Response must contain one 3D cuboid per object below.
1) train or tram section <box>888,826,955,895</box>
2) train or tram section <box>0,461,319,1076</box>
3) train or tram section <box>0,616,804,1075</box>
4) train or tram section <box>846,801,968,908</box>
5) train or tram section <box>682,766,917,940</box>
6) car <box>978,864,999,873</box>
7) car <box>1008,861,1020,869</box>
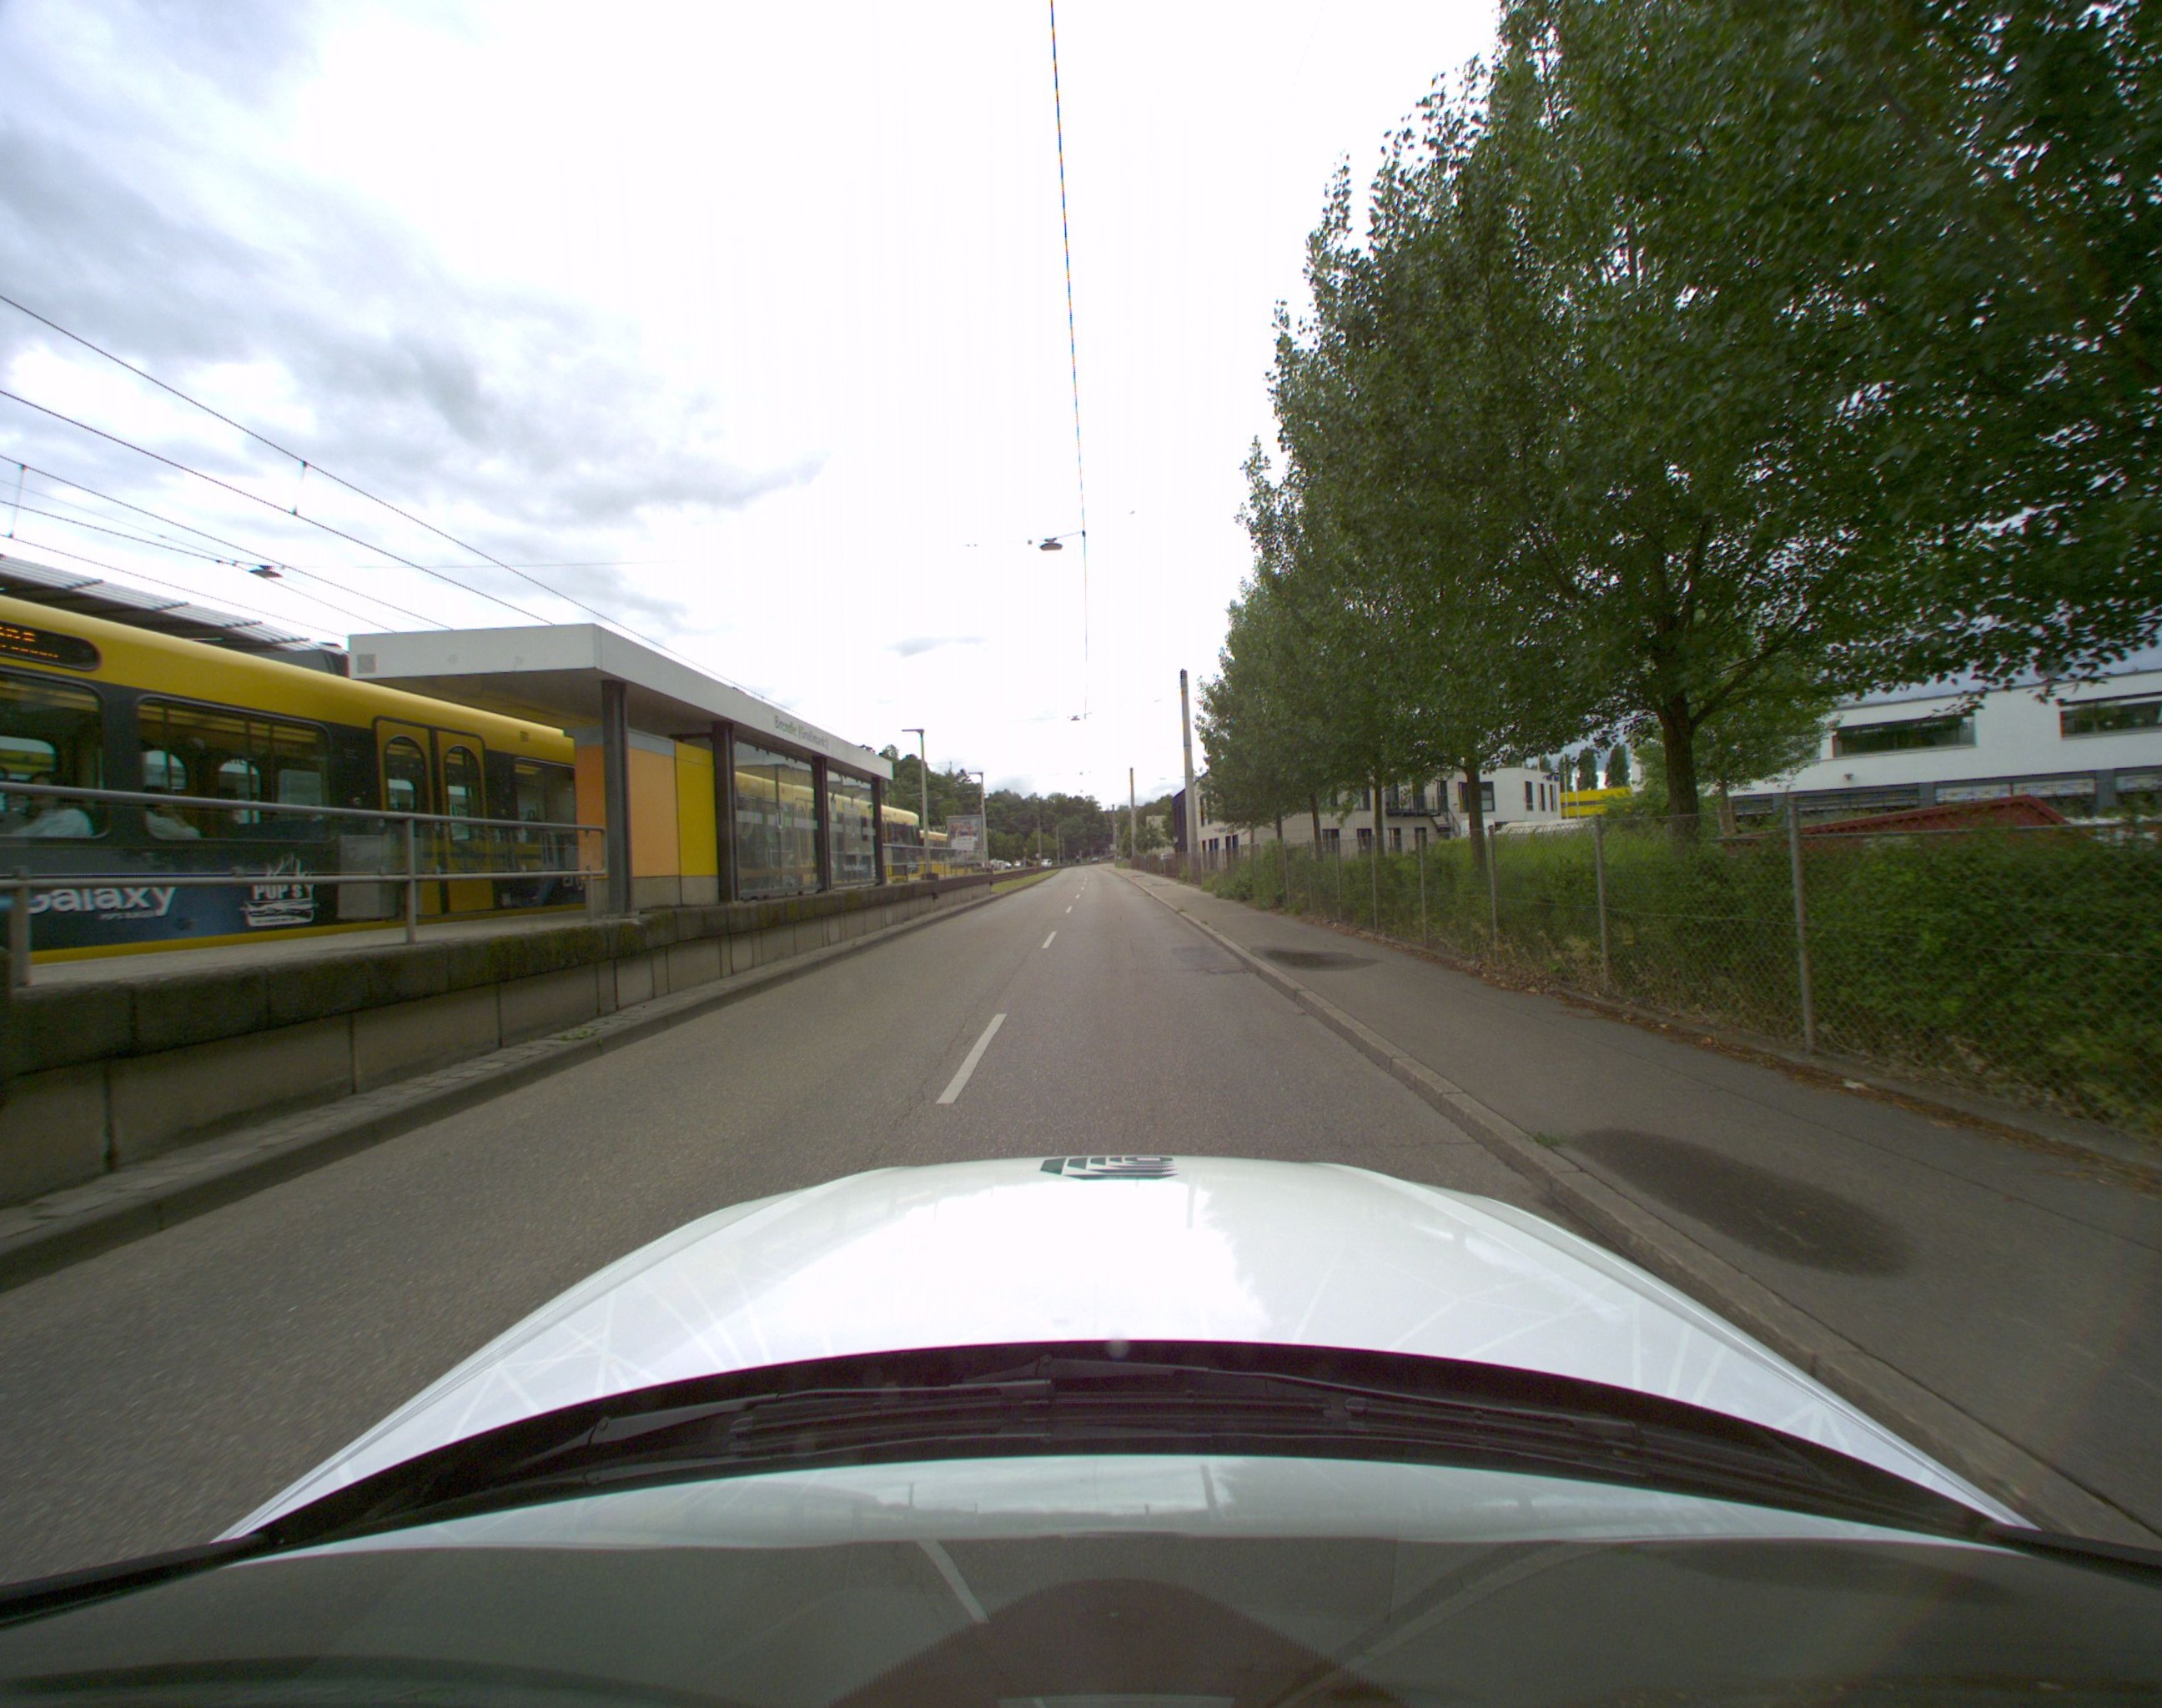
[{"bbox_3d":[-9.764,0.430,50.806,1.986,3.796,9.181,-3,-1,2],"label":"train or tram section"},{"bbox_3d":[-8.371,-0.485,1.313,2.731,3.966,11.914,-3,0,1],"label":"train or tram section"},{"bbox_3d":[-8.116,-0.103,13.248,2.731,3.966,11.914,-3,0,1],"label":"train or tram section"},{"bbox_3d":[-7.551,-0.009,37.130,2.961,4.065,10.198,-3,0,1],"label":"train or tram section"},{"bbox_3d":[-7.836,-0.043,25.183,2.731,3.966,11.914,-3,0,1],"label":"train or tram section"},{"bbox_3d":[-19.751,3.062,174.191,3.966,1.706,1.837,-3,-4,6],"label":"car"},{"bbox_3d":[-16.422,2.674,200.385,1.816,1.706,4.155,-4,-4,11],"label":"car"}]
